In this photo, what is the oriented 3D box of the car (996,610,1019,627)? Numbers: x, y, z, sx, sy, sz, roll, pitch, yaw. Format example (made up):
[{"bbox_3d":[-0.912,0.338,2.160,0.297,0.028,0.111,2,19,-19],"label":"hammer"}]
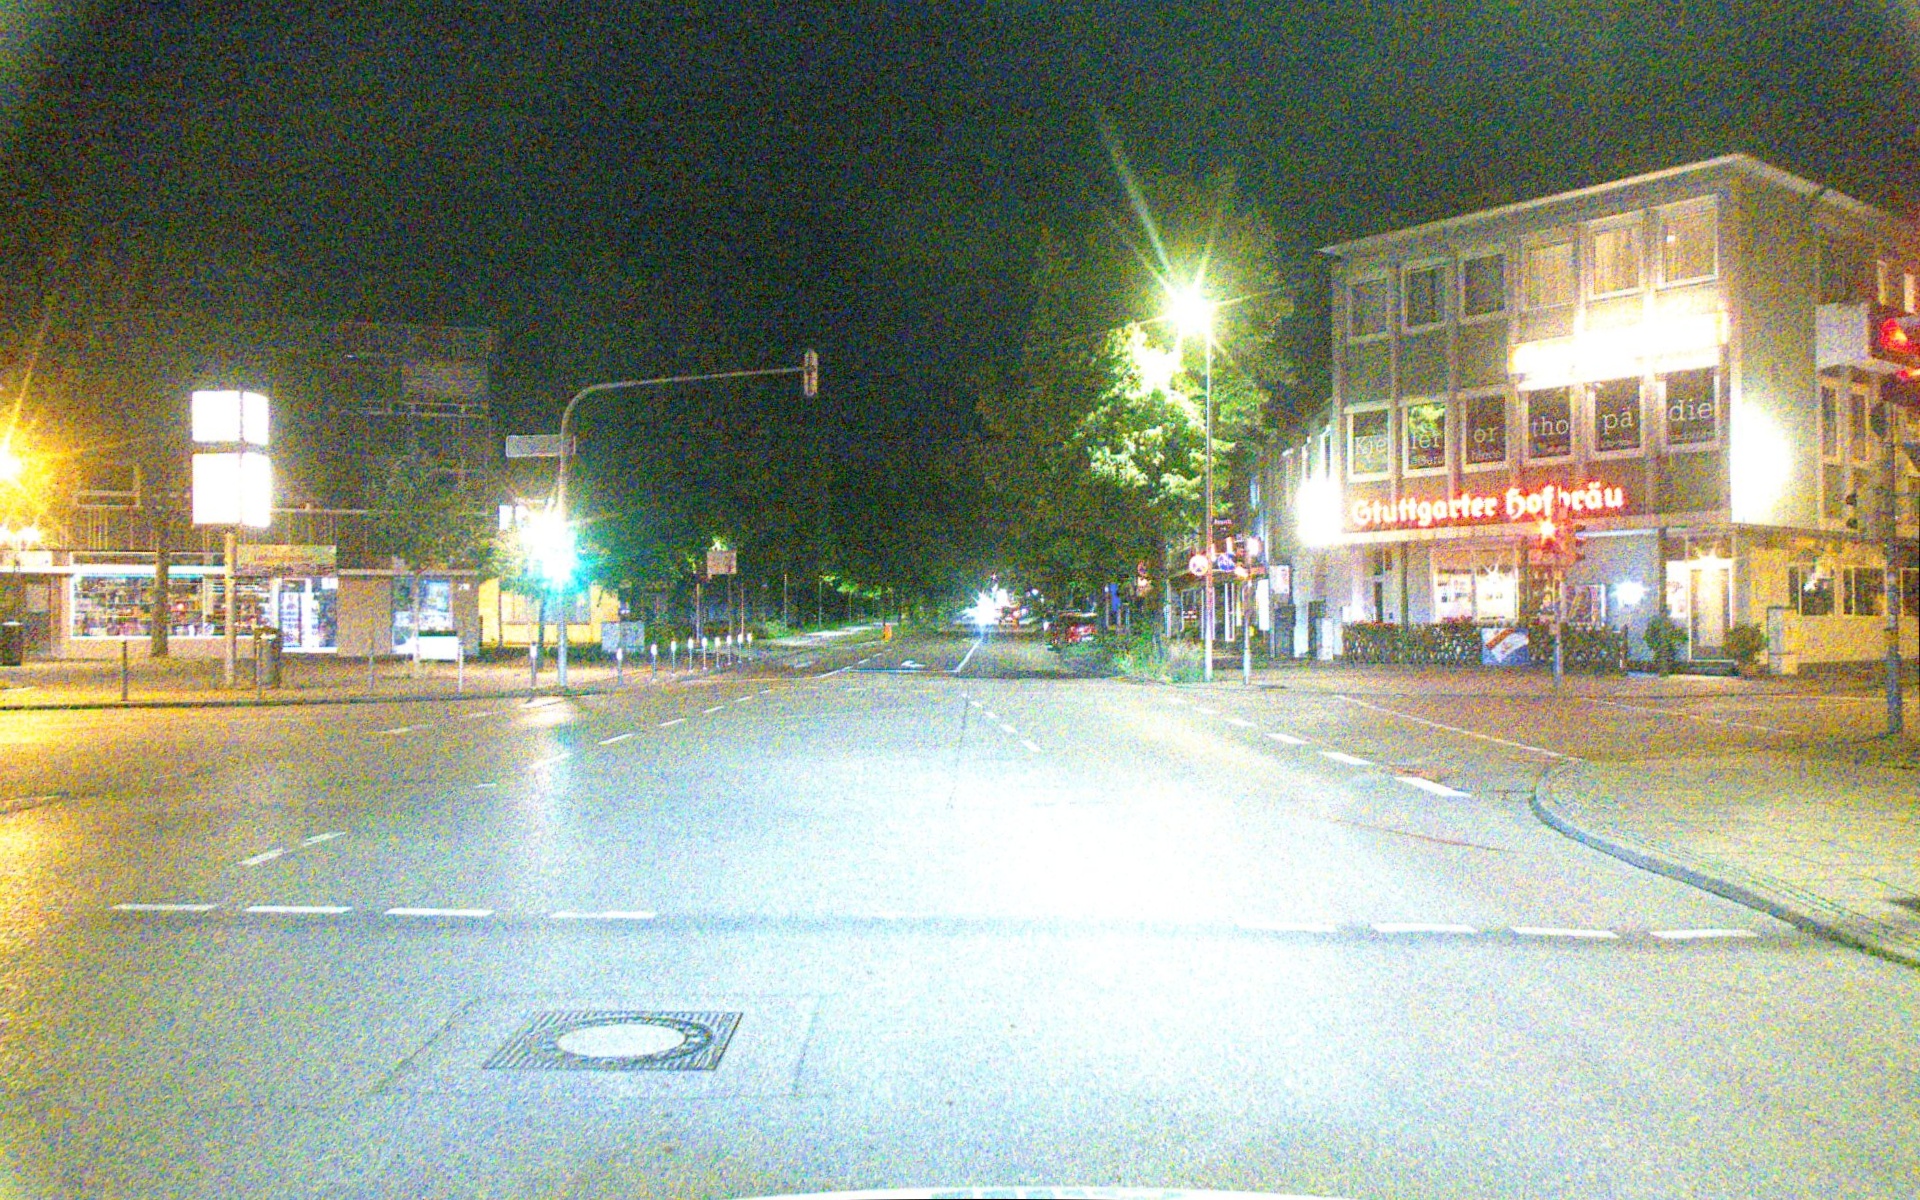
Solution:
[{"bbox_3d":[4.051,1.590,141.996,1.835,1.479,4.316,1,-1,0],"label":"car"}]

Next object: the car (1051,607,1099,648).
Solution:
[{"bbox_3d":[4.732,1.118,68.548,1.837,1.644,4.001,0,-1,2],"label":"car"}]

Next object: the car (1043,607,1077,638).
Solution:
[{"bbox_3d":[5.674,1.249,94.242,1.837,1.713,4.001,0,-1,2],"label":"car"}]

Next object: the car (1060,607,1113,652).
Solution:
[{"bbox_3d":[4.821,1.123,63.464,1.837,1.644,4.001,0,-1,2],"label":"car"}]

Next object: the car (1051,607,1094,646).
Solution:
[{"bbox_3d":[5.157,1.196,76.224,1.837,1.759,4.001,0,-1,2],"label":"car"}]
